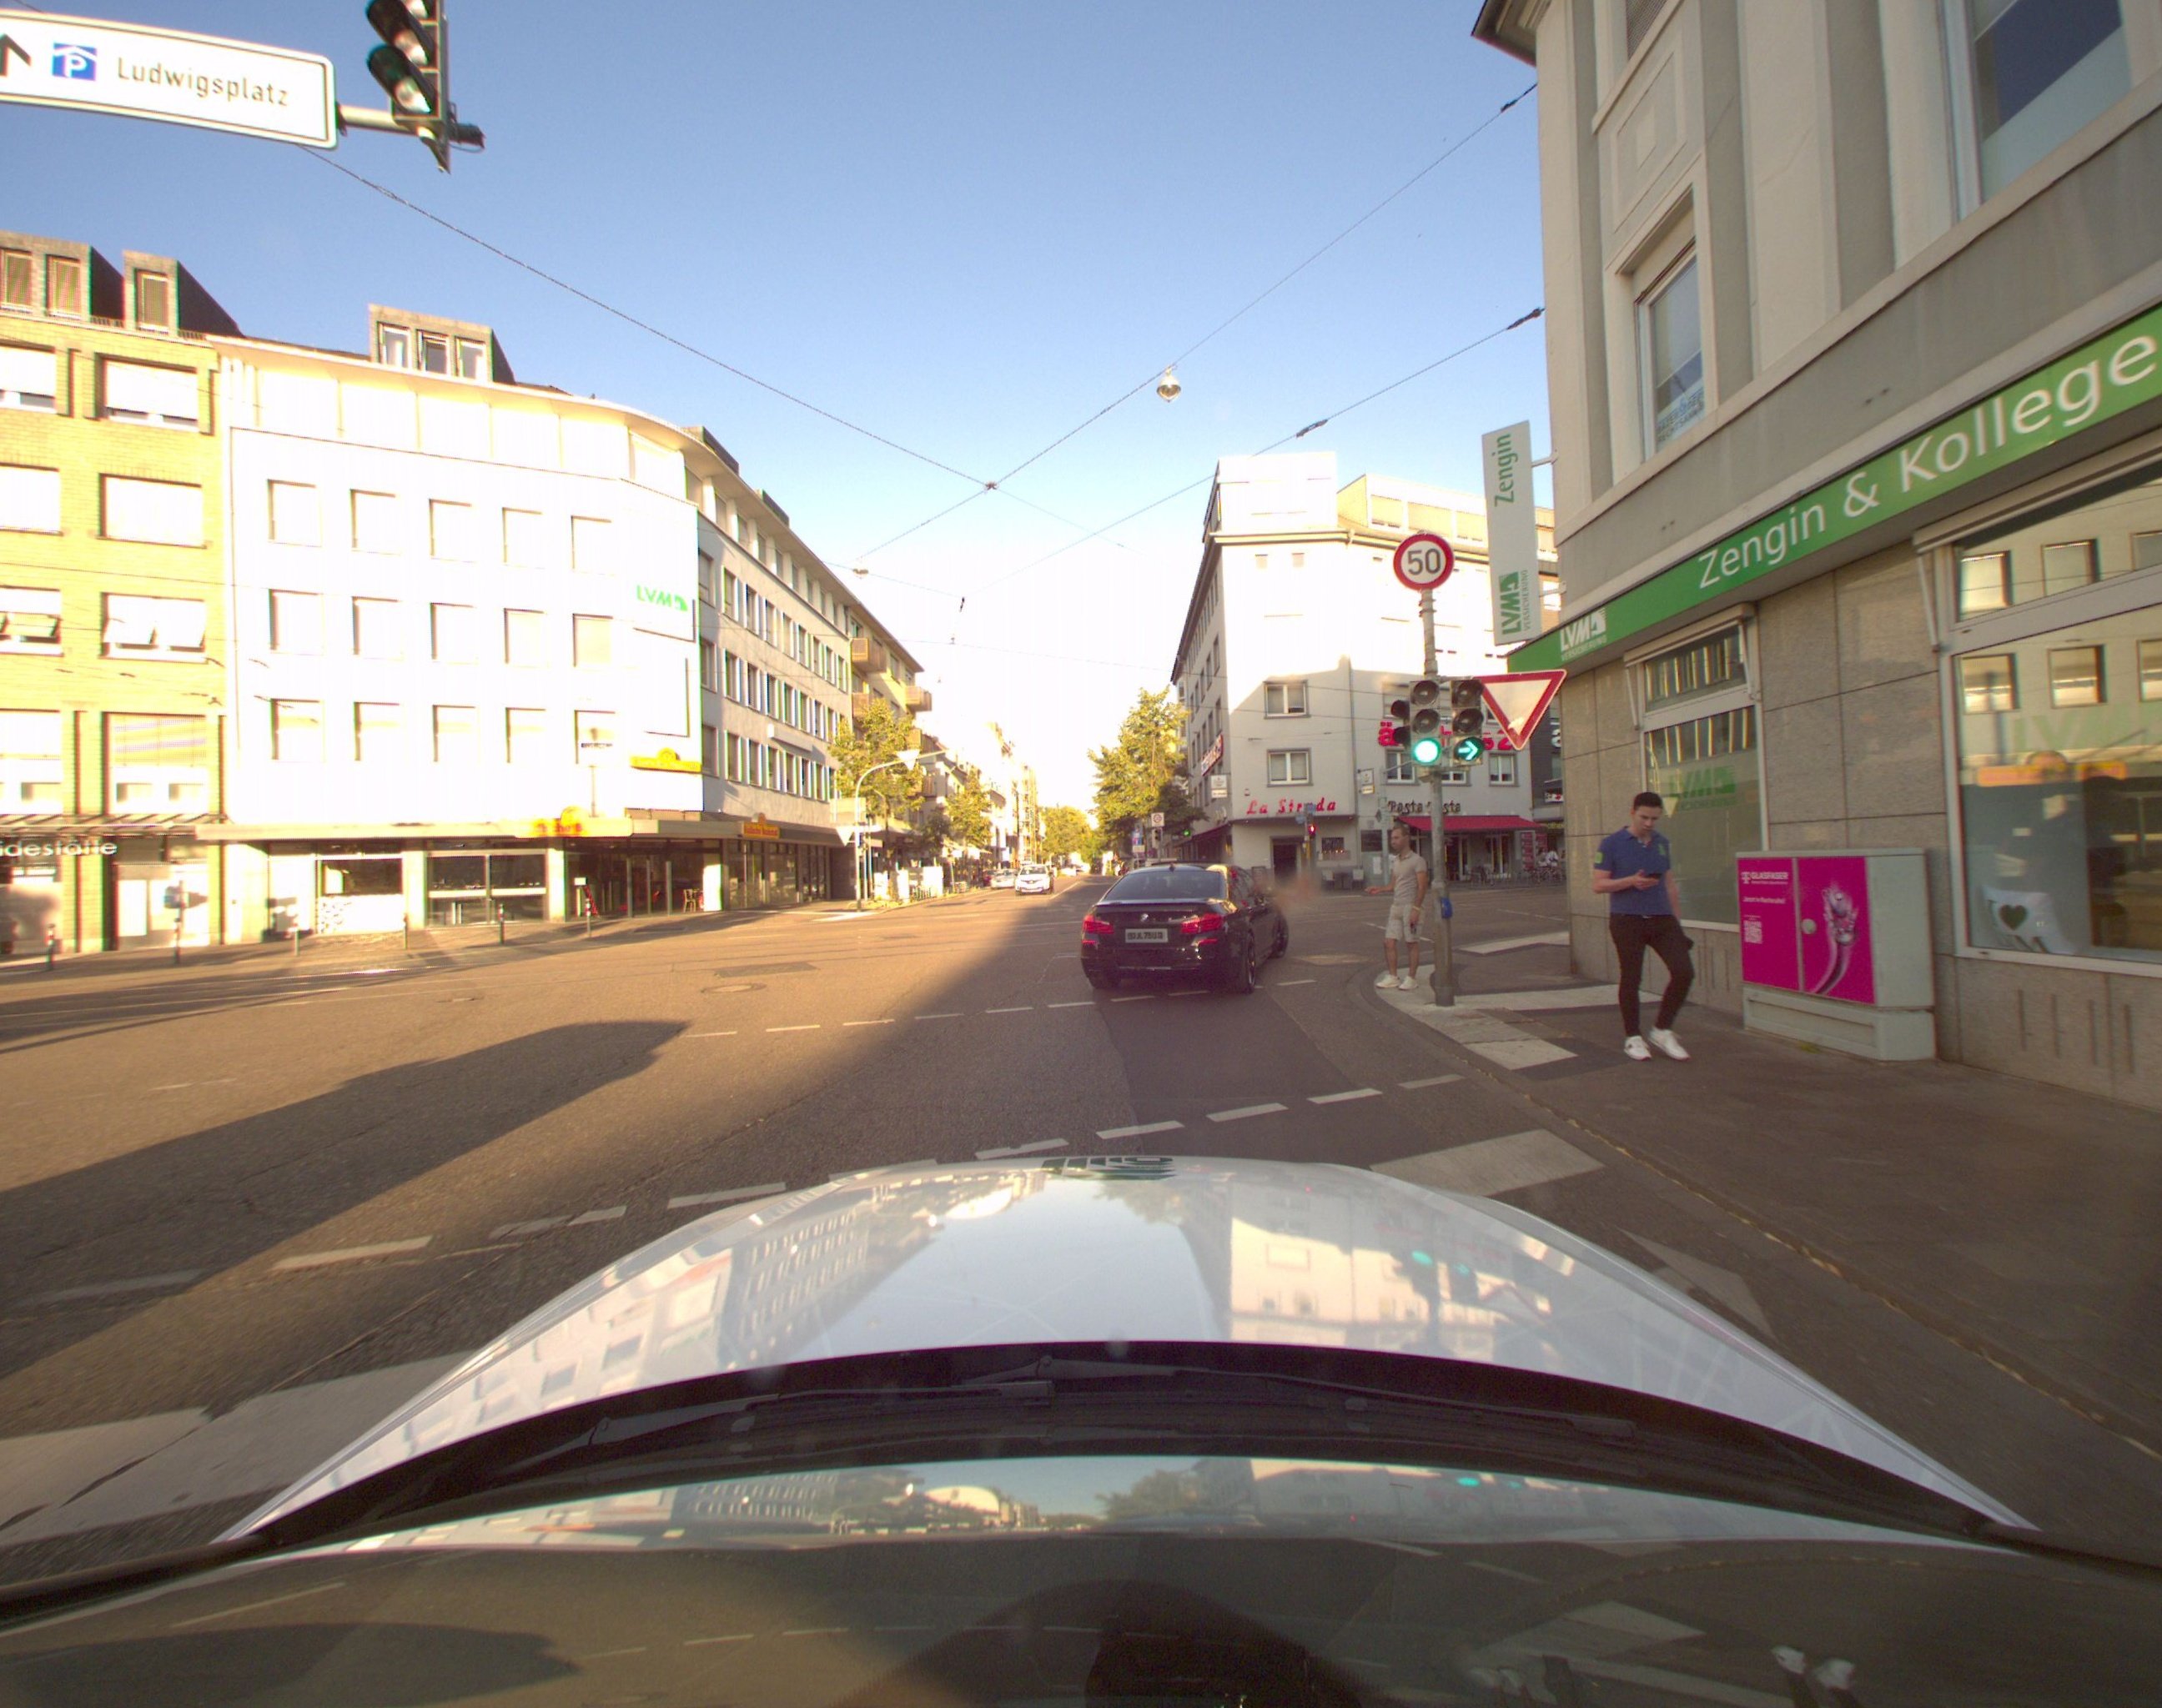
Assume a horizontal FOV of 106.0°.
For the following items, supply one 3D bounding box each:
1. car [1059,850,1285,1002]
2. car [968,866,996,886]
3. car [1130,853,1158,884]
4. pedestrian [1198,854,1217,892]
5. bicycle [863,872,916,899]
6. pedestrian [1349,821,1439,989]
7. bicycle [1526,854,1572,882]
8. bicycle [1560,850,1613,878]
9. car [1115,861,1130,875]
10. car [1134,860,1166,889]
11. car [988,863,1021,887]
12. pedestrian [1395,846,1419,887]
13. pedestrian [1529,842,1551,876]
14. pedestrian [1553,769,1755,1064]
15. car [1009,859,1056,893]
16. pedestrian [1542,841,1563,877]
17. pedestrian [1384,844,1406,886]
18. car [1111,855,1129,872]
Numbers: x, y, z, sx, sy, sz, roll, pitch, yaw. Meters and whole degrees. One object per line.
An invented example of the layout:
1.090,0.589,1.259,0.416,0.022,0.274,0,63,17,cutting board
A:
1.422,0.725,10.489,1.938,1.498,4.486,-1,0,19,car
-8.446,1.874,69.770,1.828,1.556,3.779,-3,-1,0,car
4.002,0.898,51.563,1.632,1.873,3.611,1,0,5,car
5.699,0.846,36.618,0.709,1.676,0.703,-2,-1,1,pedestrian
-8.993,1.468,38.292,2.361,1.253,0.639,0,-2,-3,bicycle
3.402,0.541,8.907,0.649,1.742,0.694,-2,-1,0,pedestrian
21.282,0.628,37.087,0.553,1.211,1.884,-1,1,-21,bicycle
22.829,0.456,36.821,0.553,1.224,2.104,-1,-1,-21,bicycle
5.587,1.838,108.875,1.843,1.794,4.005,-3,-1,5,car
3.809,1.106,44.987,1.632,1.444,3.611,-2,-1,5,car
-5.359,1.465,57.254,1.828,1.556,3.780,-3,-1,0,car
14.073,0.533,35.130,0.668,1.744,0.635,-2,-1,-16,pedestrian
22.661,0.238,40.214,0.625,1.661,0.679,-2,0,-22,pedestrian
3.858,0.402,5.570,0.687,1.828,0.881,-3,-1,5,pedestrian
-2.448,1.125,42.040,2.101,1.556,4.012,-3,-1,0,car
22.832,0.261,39.439,0.603,1.699,0.618,-2,0,-22,pedestrian
13.783,0.479,35.788,0.599,1.779,0.635,-2,-1,-16,pedestrian
4.267,0.996,88.306,1.843,1.794,4.005,0,-1,5,car
